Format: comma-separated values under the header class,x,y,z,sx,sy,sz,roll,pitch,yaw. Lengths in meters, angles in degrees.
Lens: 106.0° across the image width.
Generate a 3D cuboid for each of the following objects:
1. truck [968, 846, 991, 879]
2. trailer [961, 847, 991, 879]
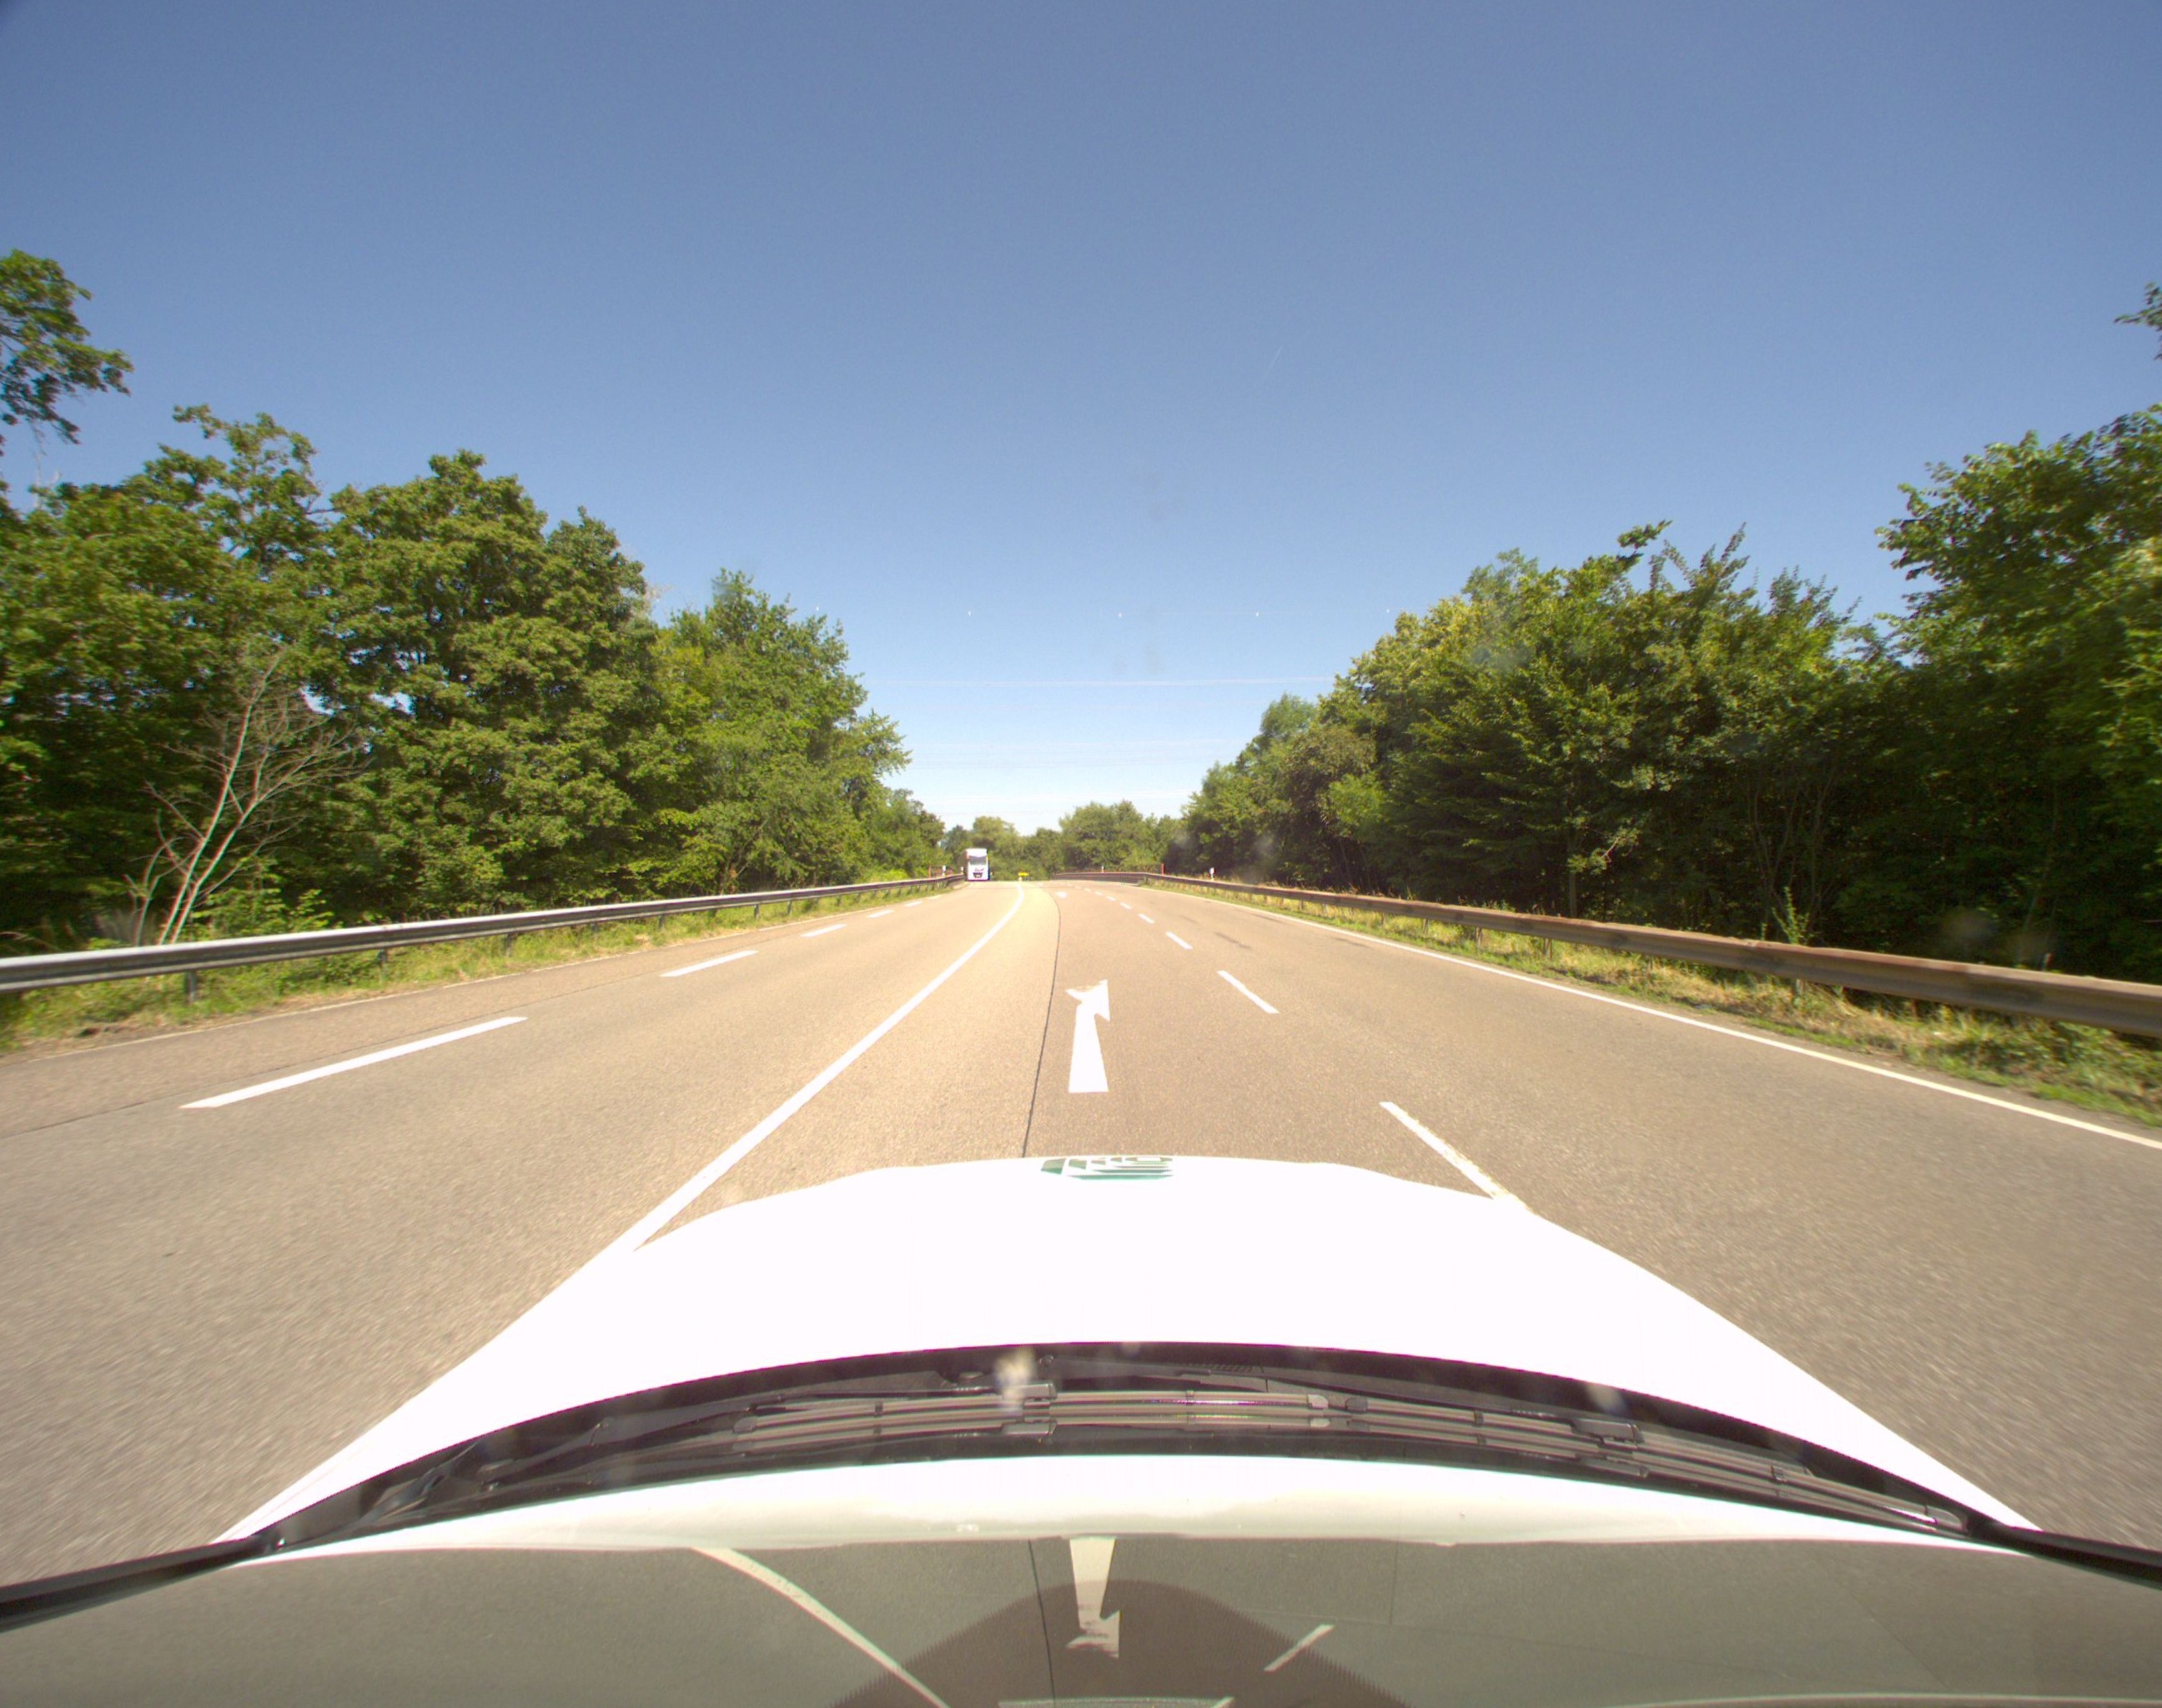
class,x,y,z,sx,sy,sz,roll,pitch,yaw
truck,-12.989,1.093,103.915,2.768,4.034,5.836,-1,-2,-9
trailer,-14.396,1.312,110.796,2.771,4.062,14.136,-1,-1,-13
